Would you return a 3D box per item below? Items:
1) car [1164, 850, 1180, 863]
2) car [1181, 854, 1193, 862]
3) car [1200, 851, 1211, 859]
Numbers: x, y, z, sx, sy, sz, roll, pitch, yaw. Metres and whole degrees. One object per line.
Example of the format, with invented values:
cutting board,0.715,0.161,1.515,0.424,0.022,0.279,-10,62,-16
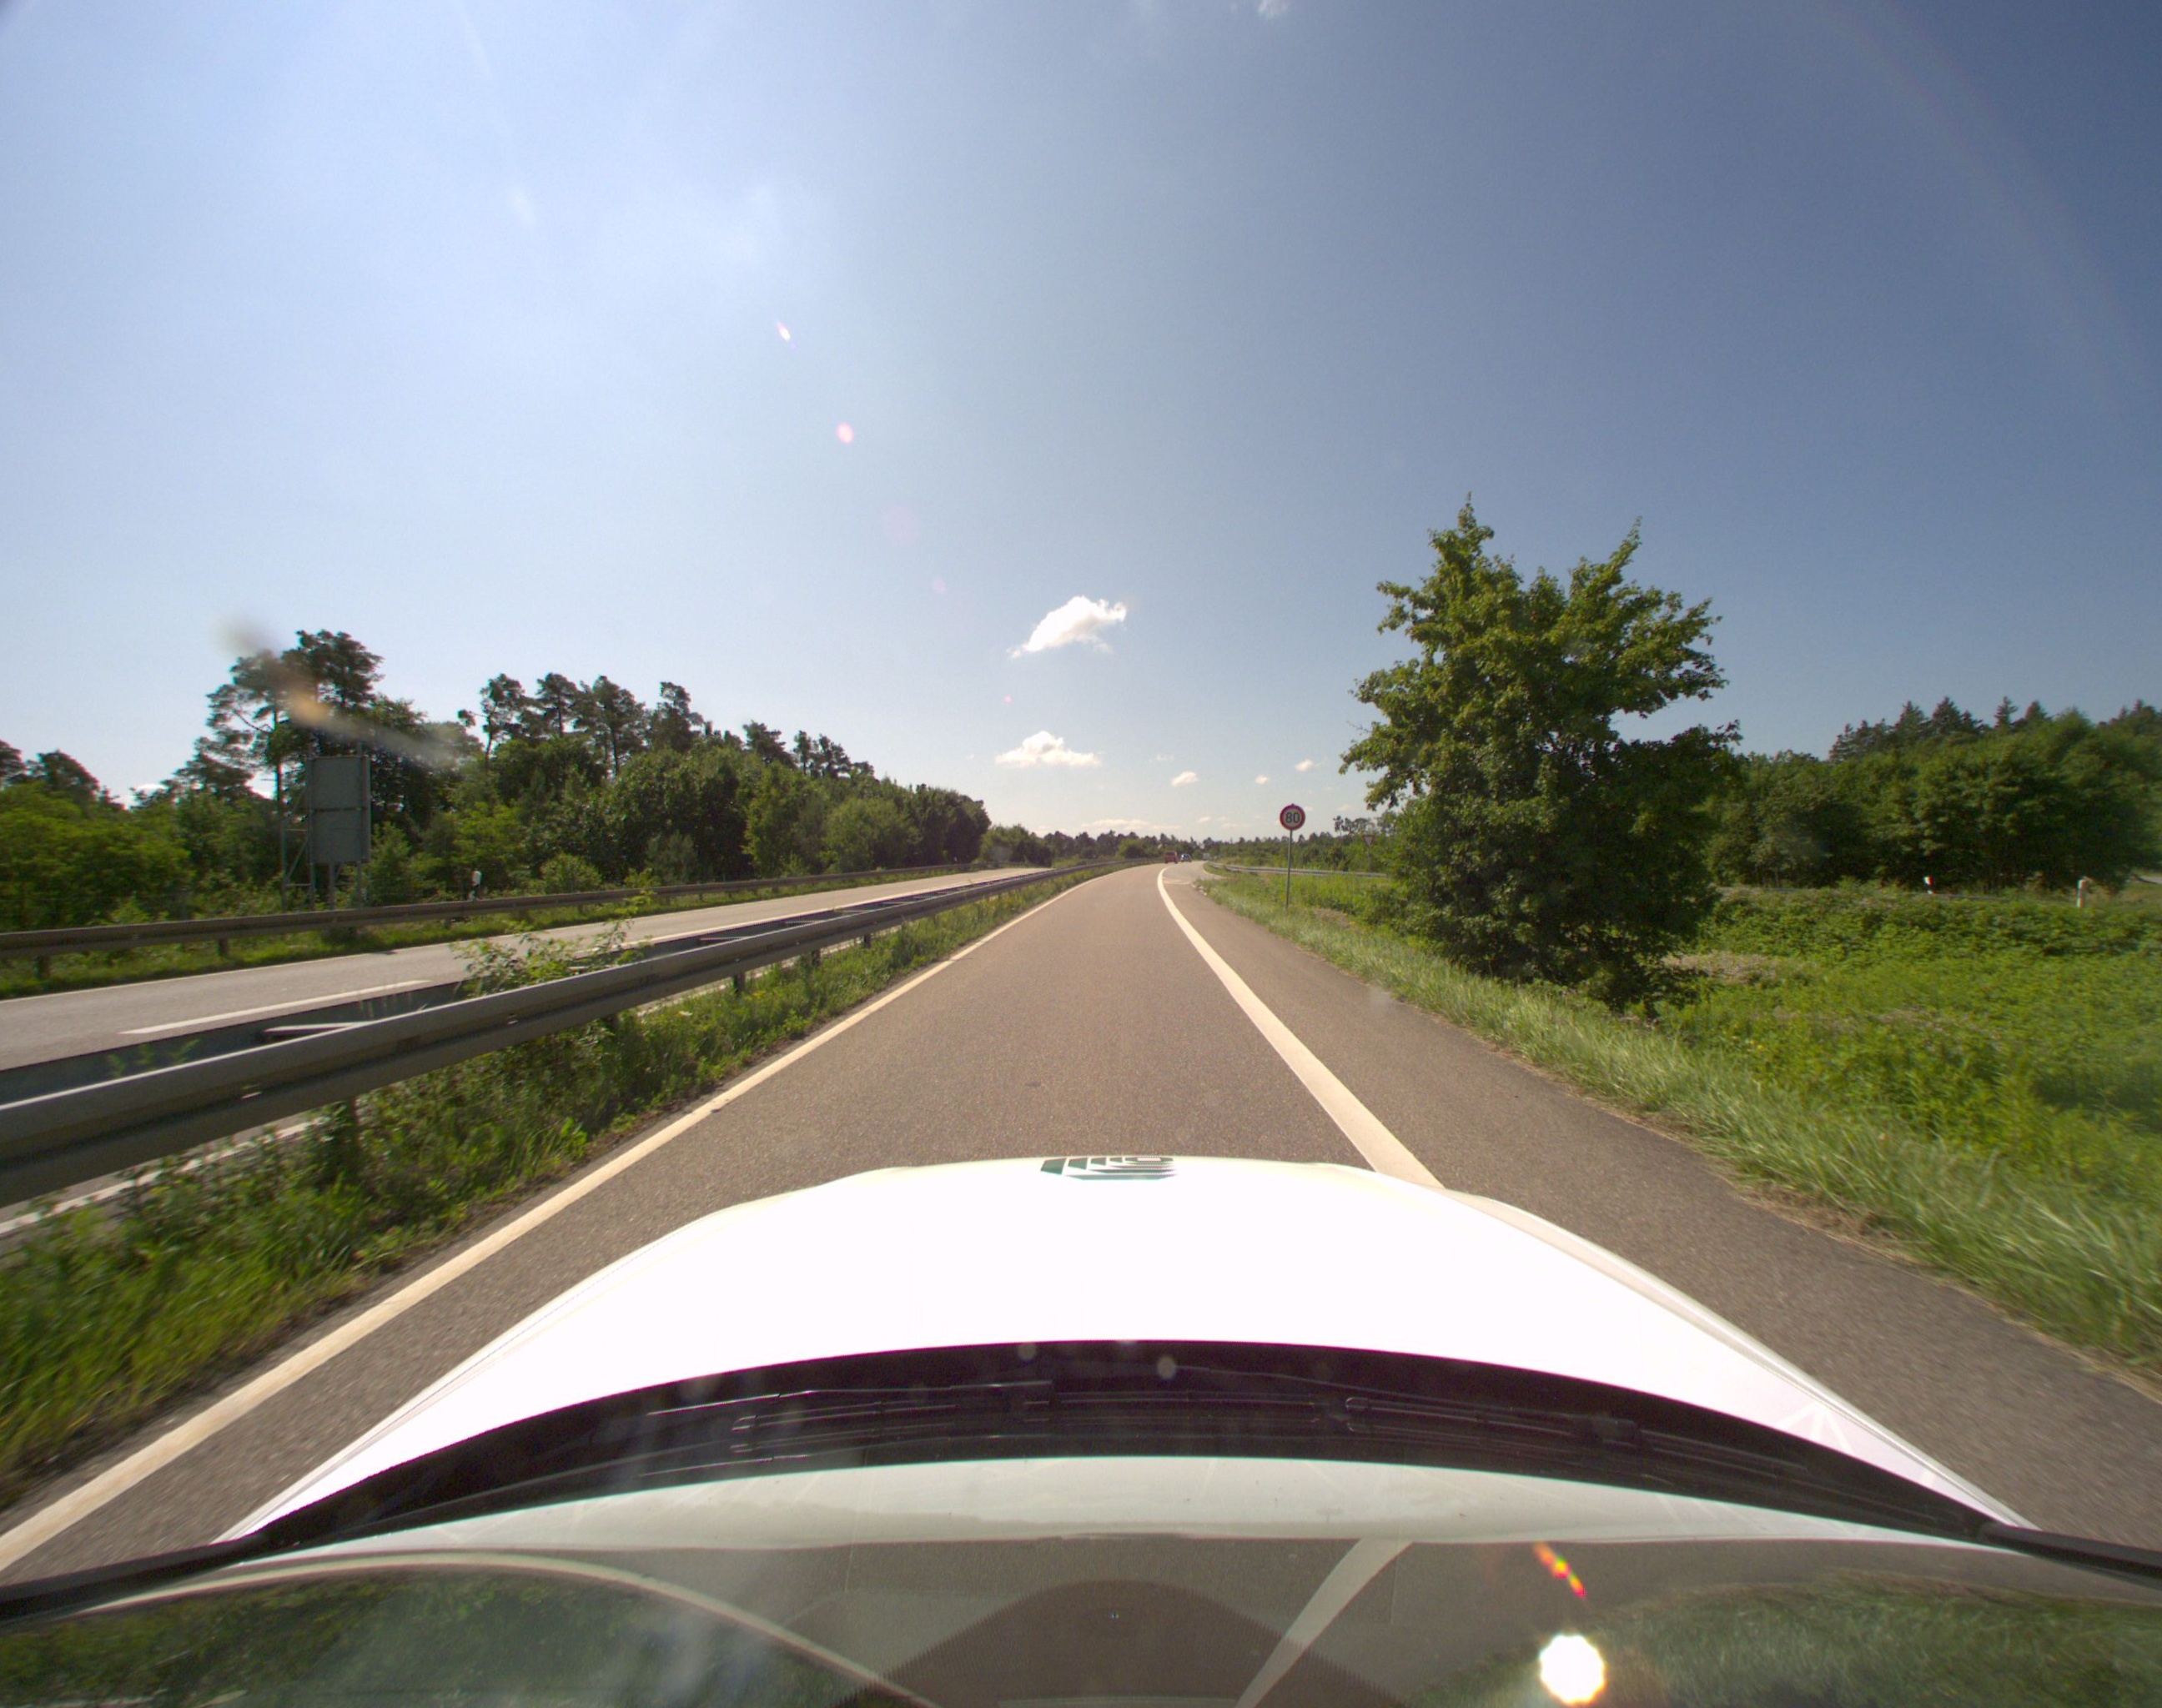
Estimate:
car,14.708,0.393,131.530,2.064,1.993,5.126,0,-1,11
car,20.026,0.777,153.953,1.994,1.494,4.251,0,-1,11
car,31.248,0.294,204.116,2.168,1.955,5.828,0,-1,16
